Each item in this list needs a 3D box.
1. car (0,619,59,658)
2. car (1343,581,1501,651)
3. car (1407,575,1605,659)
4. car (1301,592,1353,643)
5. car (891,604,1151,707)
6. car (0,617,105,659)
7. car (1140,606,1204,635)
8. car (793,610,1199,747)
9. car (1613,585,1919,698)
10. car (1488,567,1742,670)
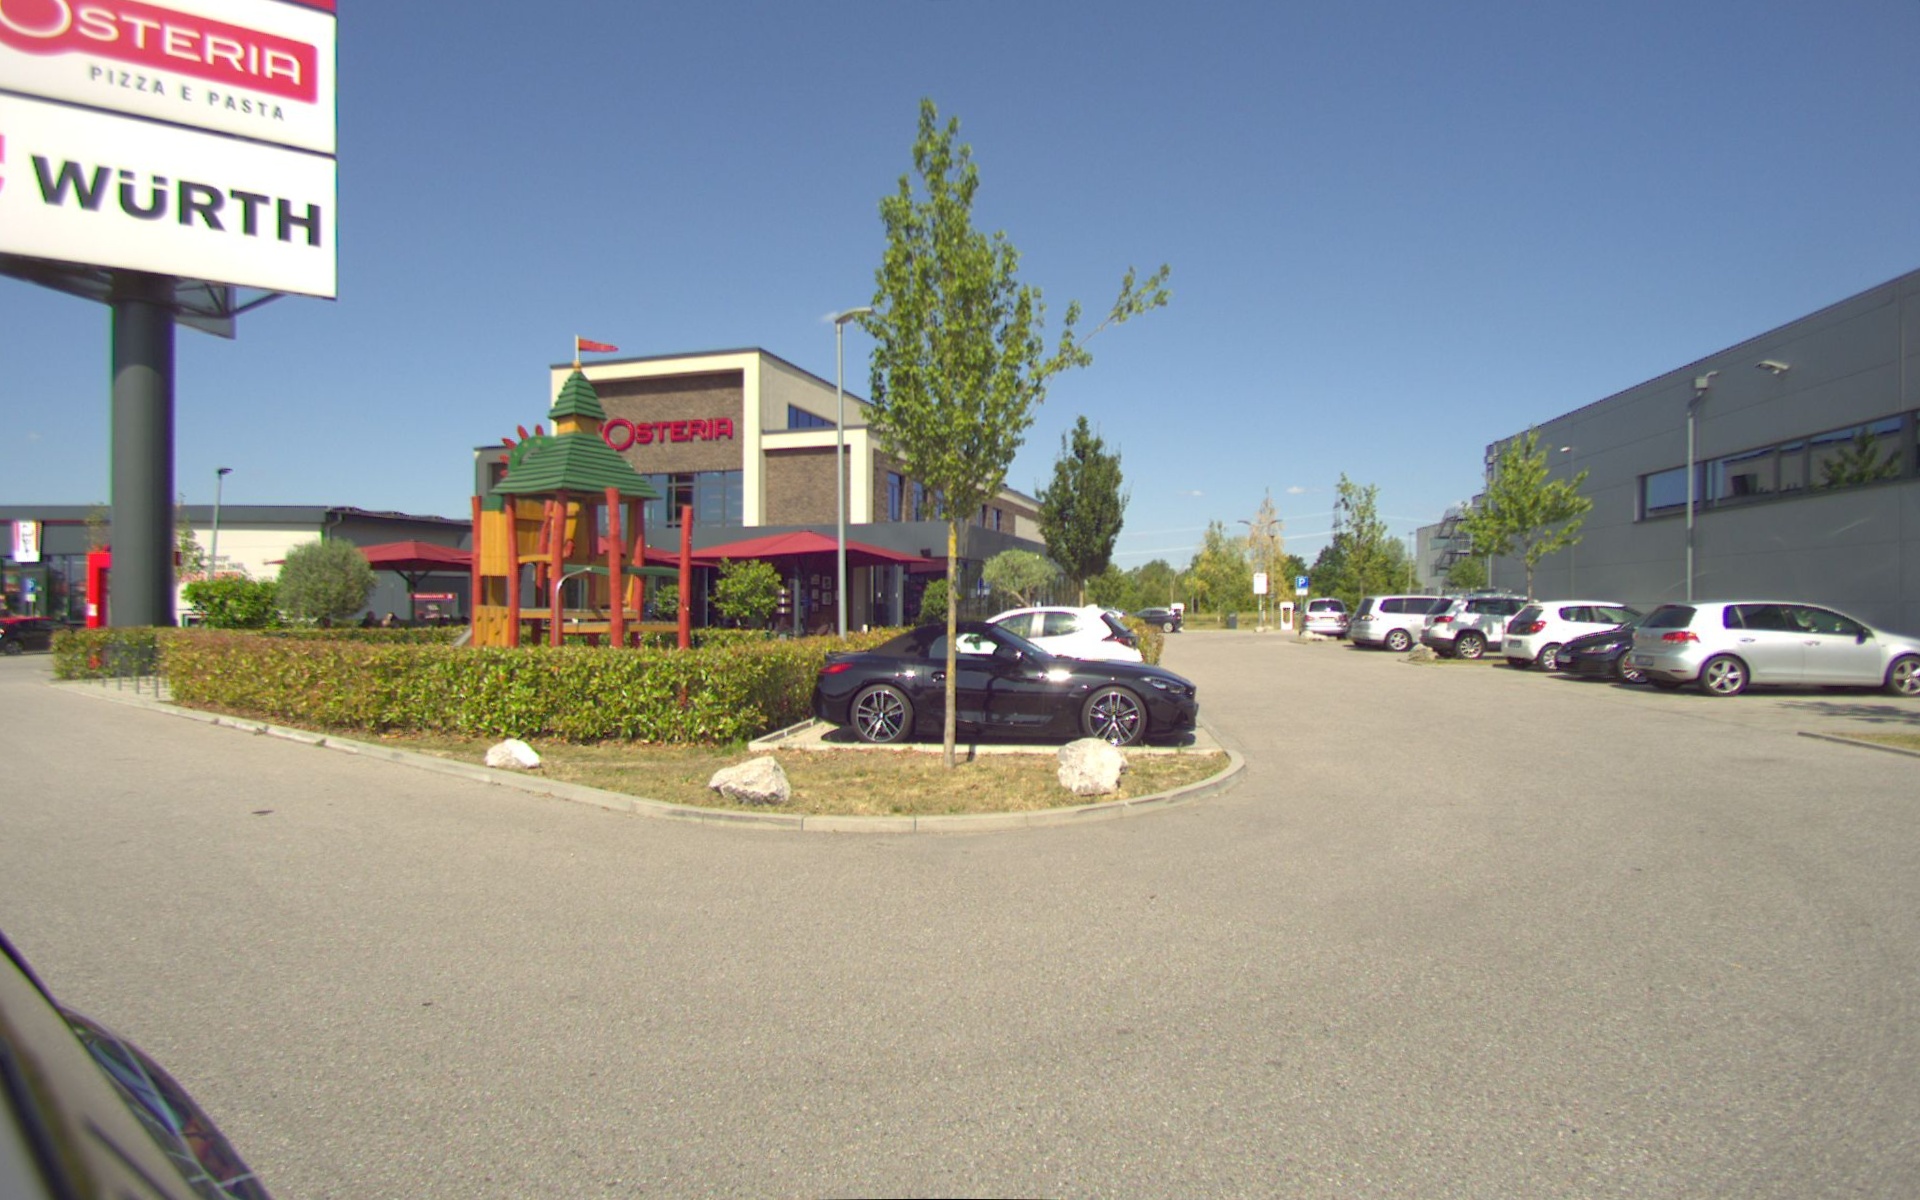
[{"bbox_3d":[-39.918,1.586,41.492,1.864,1.577,4.071,-1,-1,18],"label":"car"},{"bbox_3d":[13.928,0.478,30.733,3.957,2.029,1.993,-1,0,11],"label":"car"},{"bbox_3d":[13.822,0.425,25.873,3.955,2.029,1.994,-1,0,9],"label":"car"},{"bbox_3d":[14.826,0.672,41.009,1.780,1.953,3.977,-1,0,18],"label":"car"},{"bbox_3d":[1.019,0.833,15.950,3.874,1.486,1.796,-1,-1,13],"label":"car"},{"bbox_3d":[-37.317,1.508,40.742,1.864,1.577,4.071,-1,-1,18],"label":"car"},{"bbox_3d":[13.705,1.311,65.325,3.961,1.799,1.764,-1,0,14],"label":"car"},{"bbox_3d":[0.409,0.811,11.136,4.104,1.348,1.827,-1,-1,7],"label":"car"},{"bbox_3d":[12.740,0.618,15.680,3.955,1.629,1.776,-1,-1,10],"label":"car"},{"bbox_3d":[13.666,0.388,21.346,3.950,2.029,1.997,-1,0,6],"label":"car"}]
